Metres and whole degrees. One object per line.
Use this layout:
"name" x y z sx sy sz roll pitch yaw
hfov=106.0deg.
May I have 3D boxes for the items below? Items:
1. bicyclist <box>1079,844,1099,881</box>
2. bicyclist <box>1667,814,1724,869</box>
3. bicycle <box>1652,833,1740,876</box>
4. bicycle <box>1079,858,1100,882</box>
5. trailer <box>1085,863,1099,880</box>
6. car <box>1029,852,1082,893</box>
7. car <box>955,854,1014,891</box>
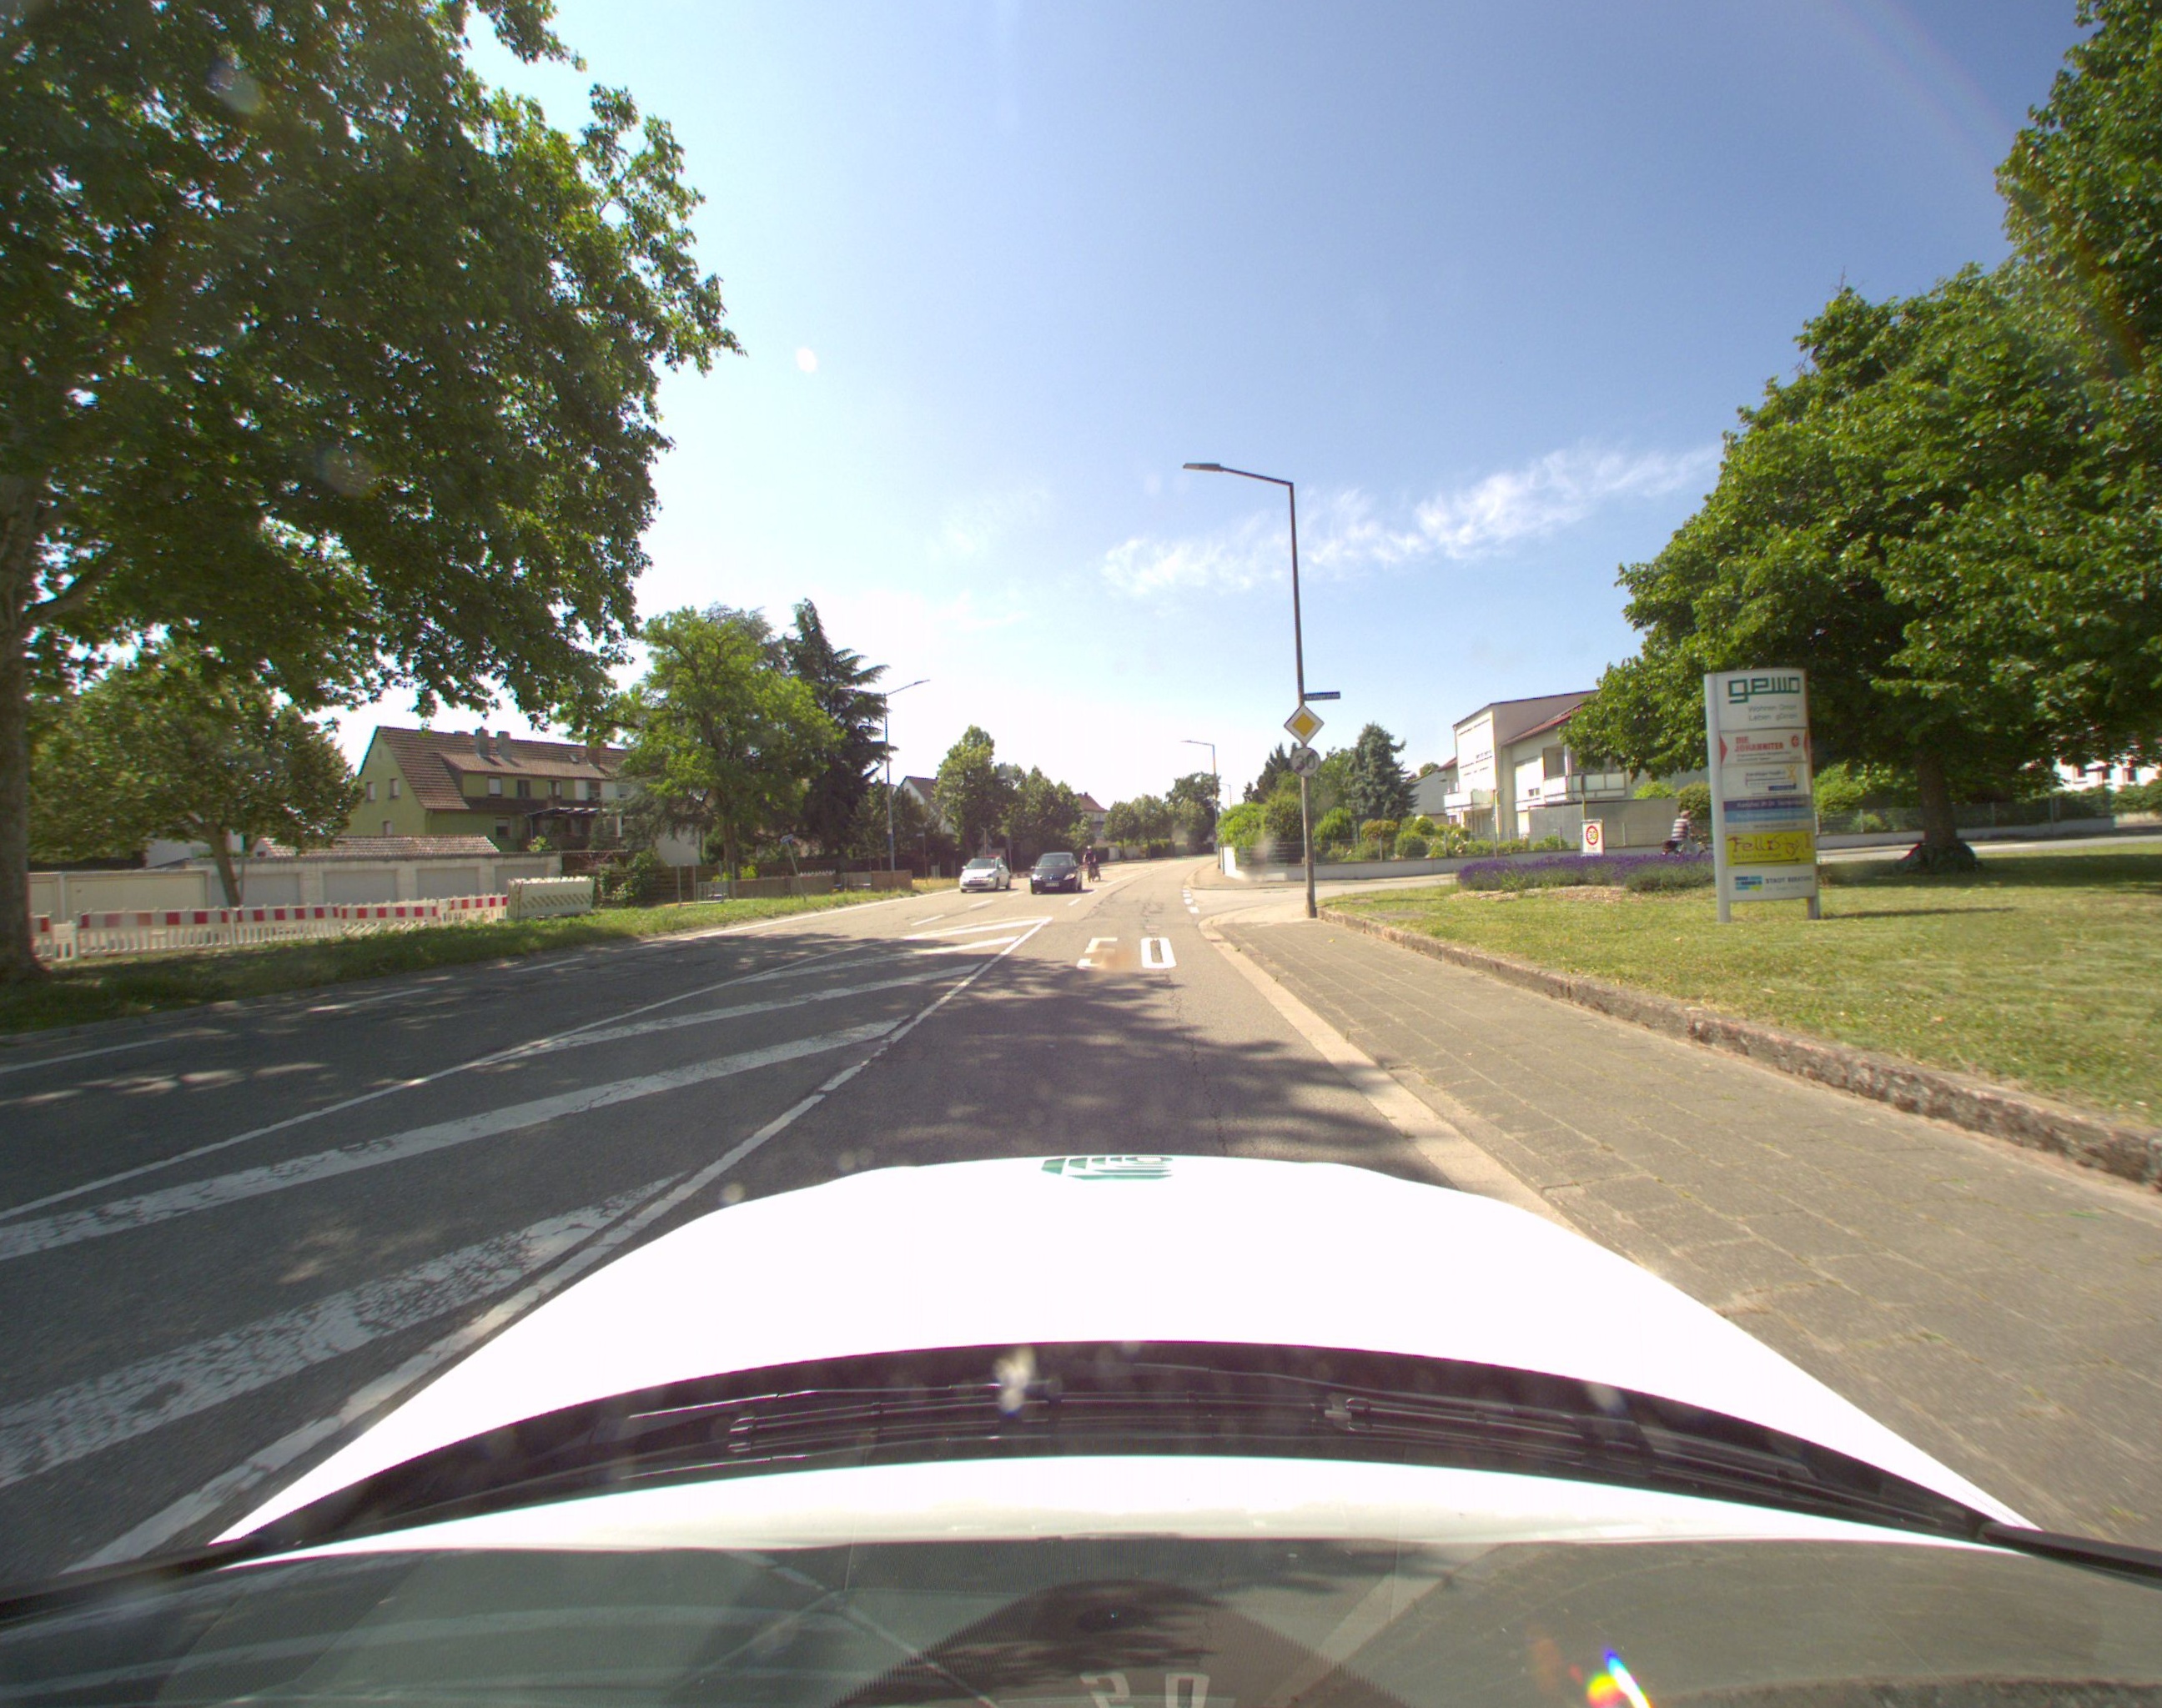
"bicyclist" 0.427 0.454 42.355 0.841 1.865 0.978 -2 0 6
"bicyclist" 17.954 -0.373 23.814 0.926 1.530 0.853 -3 0 -11
"bicycle" 17.964 0.008 23.809 2.140 1.103 0.813 -4 0 -11
"bicycle" 0.436 0.811 42.347 0.846 1.166 1.981 -2 0 7
"trailer" 0.610 0.952 43.906 0.567 0.856 1.135 -3 0 7
"car" -0.967 0.692 32.542 1.718 1.532 3.834 -1 0 4
"car" -4.186 0.783 35.833 1.689 1.510 3.467 -1 0 9
